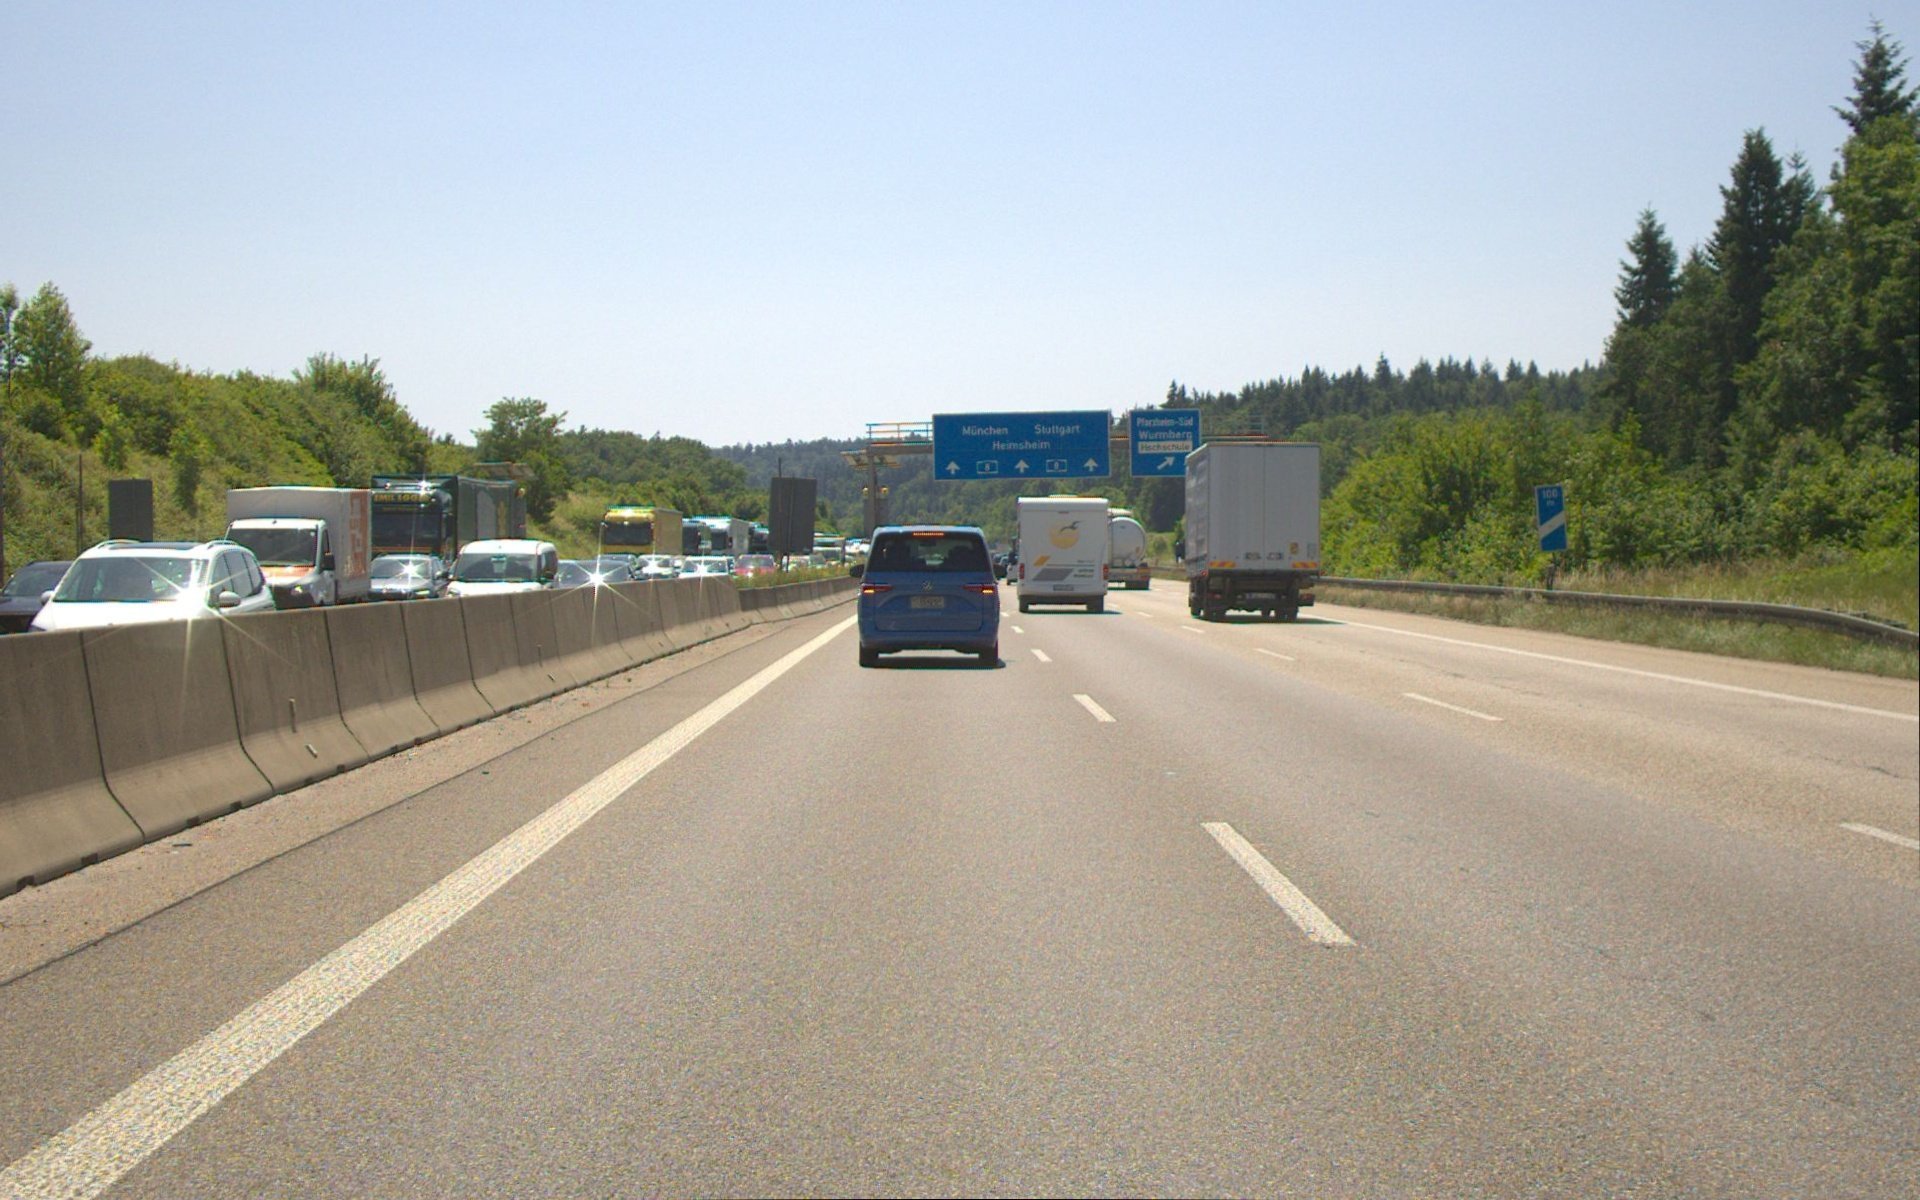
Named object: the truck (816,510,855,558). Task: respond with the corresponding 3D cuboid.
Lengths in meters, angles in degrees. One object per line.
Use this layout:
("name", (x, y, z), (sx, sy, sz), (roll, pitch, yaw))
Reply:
("truck", (-7.648, -4.060, 211.618), (2.120, 2.832, 6.212), (1, 0, 1))

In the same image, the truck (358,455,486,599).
("truck", (-16.126, -2.142, 103.374), (2.819, 4.189, 5.629), (1, 0, 1))

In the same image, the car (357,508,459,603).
("car", (-12.134, -0.966, 75.740), (1.623, 2.007, 4.000), (1, 0, -1))

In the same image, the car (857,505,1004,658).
("car", (-0.404, -0.273, 47.161), (1.909, 2.007, 4.000), (0, 1, -1))

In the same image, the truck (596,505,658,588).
("truck", (-16.654, -2.666, 172.294), (2.602, 4.050, 6.133), (1, 0, -1))

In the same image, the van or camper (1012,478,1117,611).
("van or camper", (2.727, -1.412, 91.708), (2.603, 3.069, 7.180), (1, -3, 1))

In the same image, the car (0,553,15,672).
("car", (-12.388, 0.153, 40.039), (1.595, 1.451, 4.483), (1, 0, -1))

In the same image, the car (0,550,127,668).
("car", (-13.039, 0.098, 47.943), (1.827, 1.559, 4.524), (1, 0, -1))

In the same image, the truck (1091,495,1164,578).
("truck", (7.470, -2.873, 154.310), (2.928, 3.563, 8.526), (-1, 1, 1))

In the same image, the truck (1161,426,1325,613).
("truck", (6.543, -1.815, 81.007), (2.783, 4.114, 9.741), (1, 0, -1))

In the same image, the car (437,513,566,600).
("car", (-8.571, -0.797, 64.606), (1.827, 1.559, 5.111), (1, 0, -1))

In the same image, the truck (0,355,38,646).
("truck", (-16.525, -1.529, 48.601), (2.995, 4.527, 13.924), (1, 0, 1))

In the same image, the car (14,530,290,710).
("car", (-8.428, 0.182, 36.296), (1.827, 1.758, 4.991), (1, 0, -1))

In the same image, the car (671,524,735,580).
("car", (-8.424, -1.563, 113.024), (1.827, 1.758, 4.991), (1, 0, -1))

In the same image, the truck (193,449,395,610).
("truck", (-12.354, -1.269, 64.301), (2.568, 2.835, 6.753), (1, 0, -1))
